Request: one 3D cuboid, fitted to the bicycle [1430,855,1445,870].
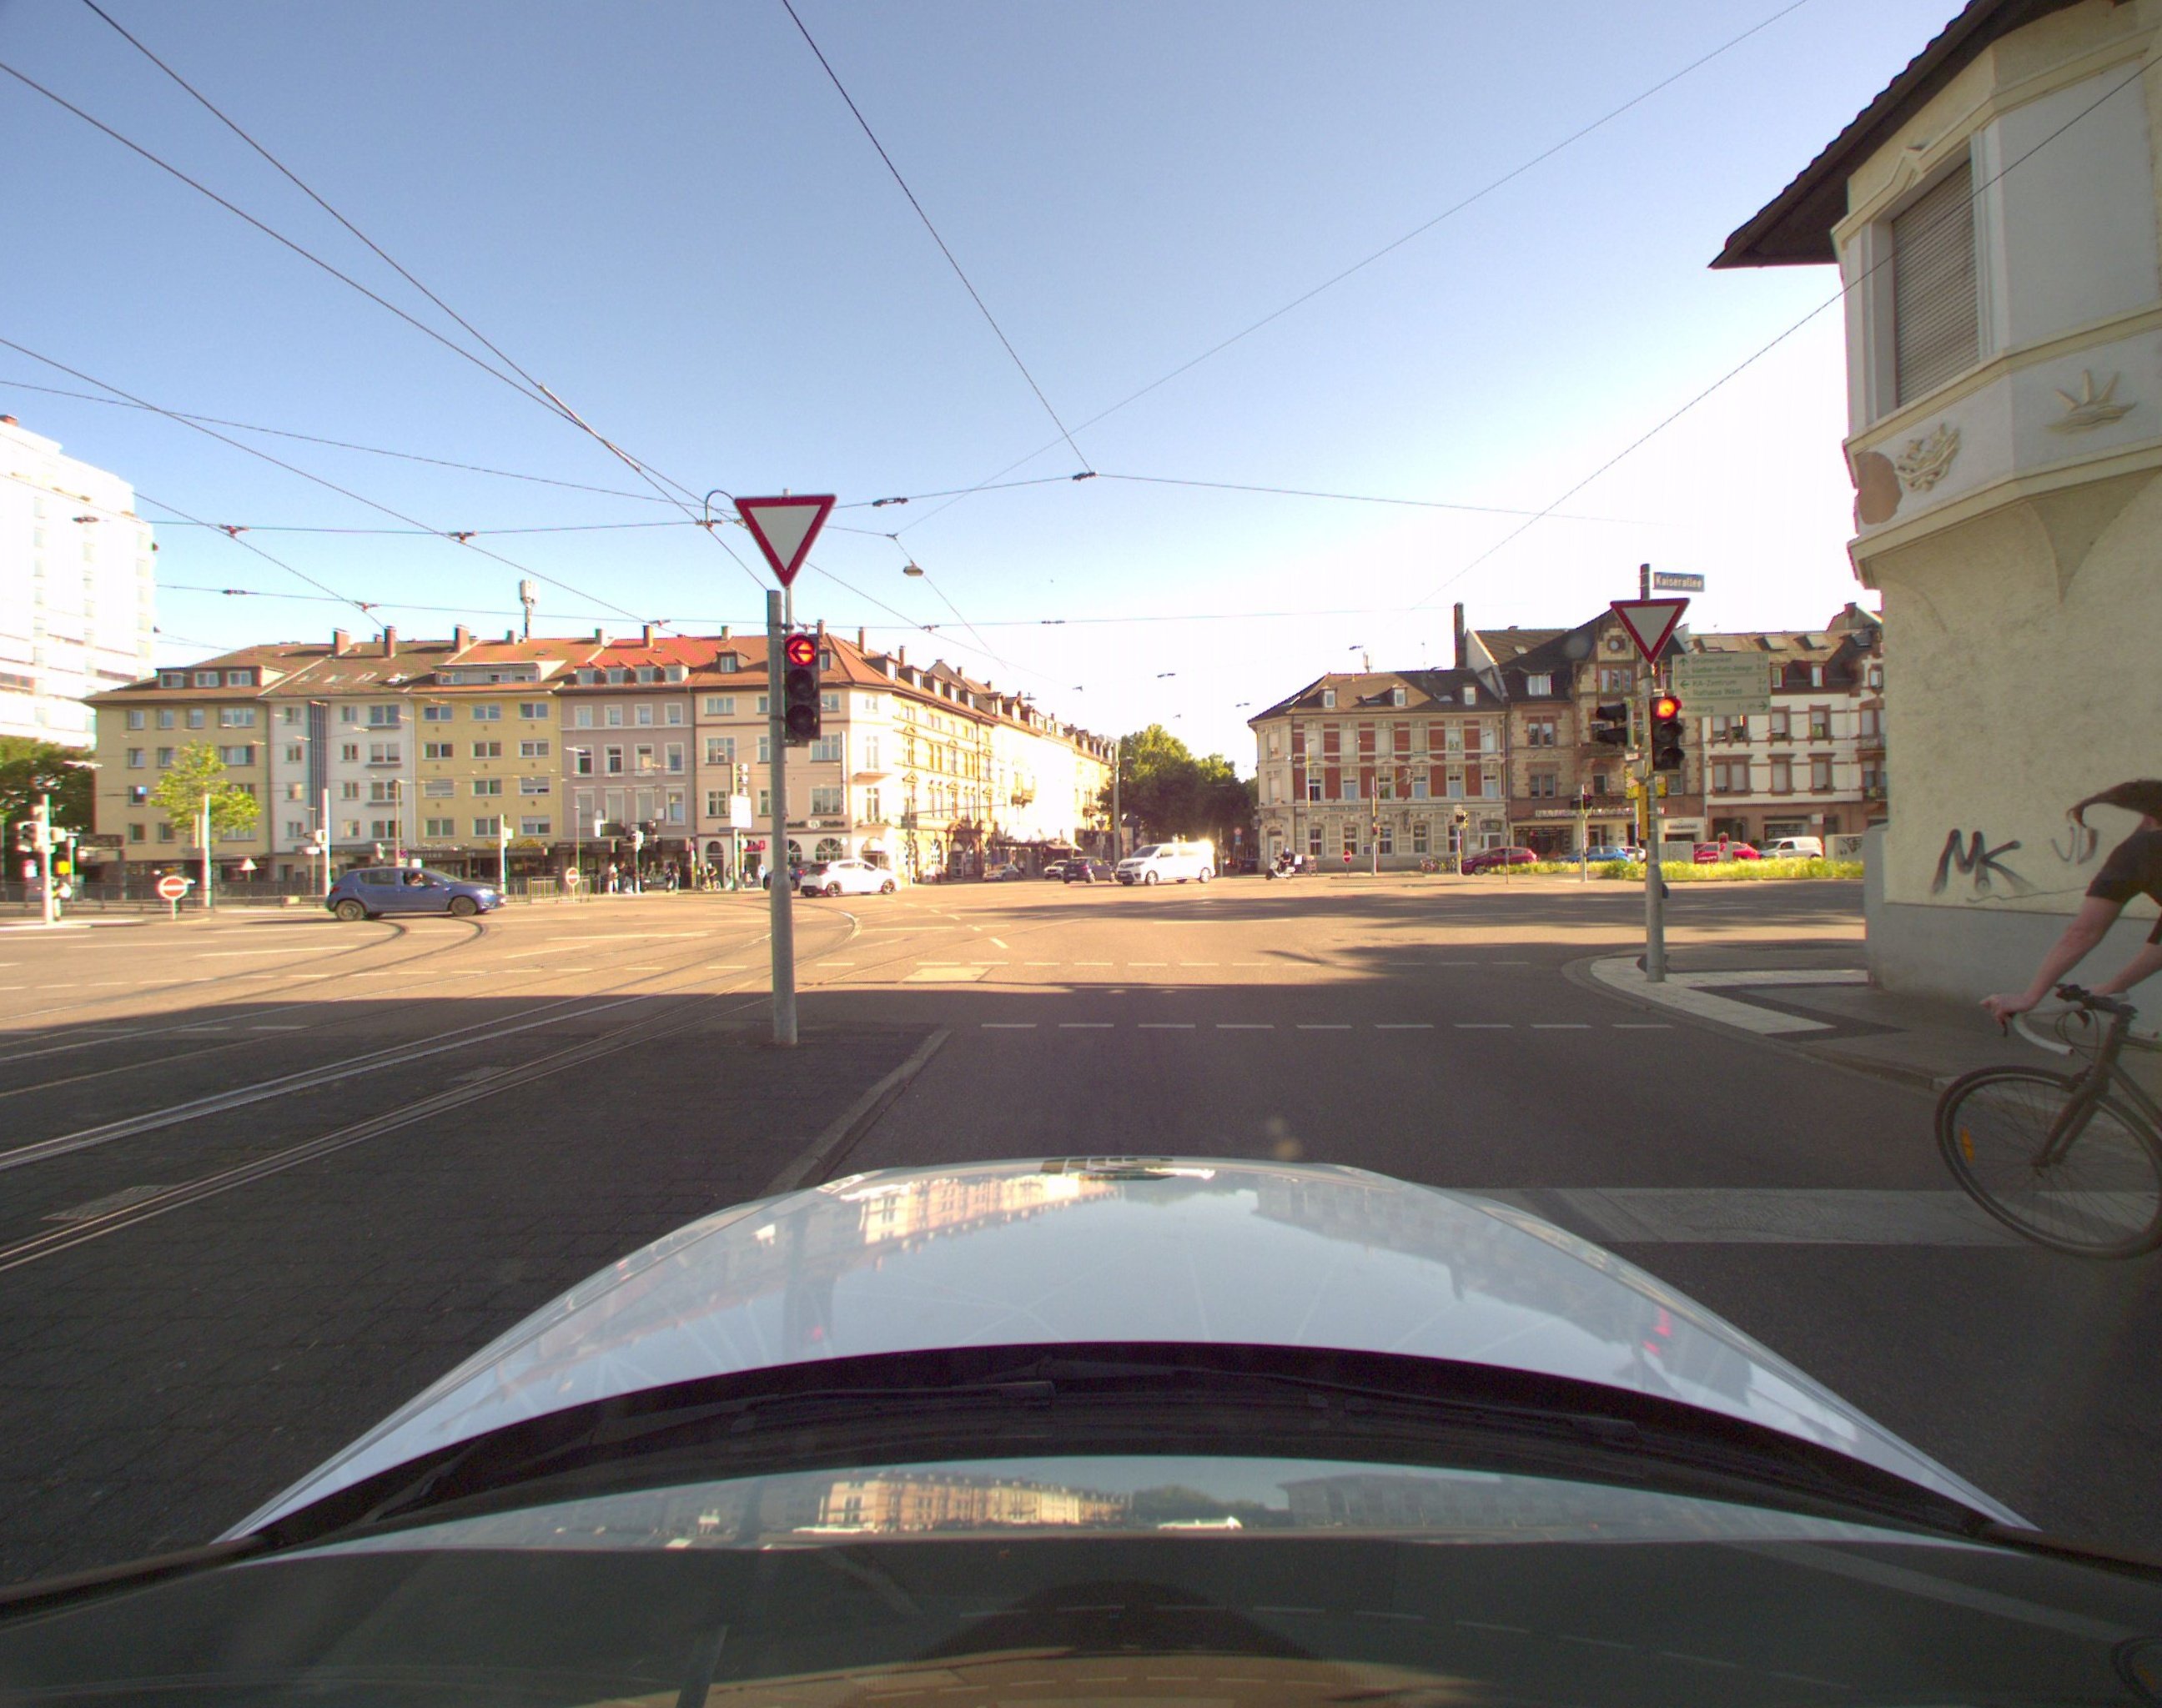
[{"bbox_3d":[23.262,0.565,53.095,0.758,0.968,2.221,-1,-1,20],"label":"bicycle"}]

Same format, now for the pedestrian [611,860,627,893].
[{"bbox_3d":[-23.676,1.155,41.728,0.520,1.648,0.498,0,-1,1],"label":"pedestrian"}]

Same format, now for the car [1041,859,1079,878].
[{"bbox_3d":[-1.679,1.174,67.481,1.788,1.585,4.179,-1,-1,19],"label":"car"}]

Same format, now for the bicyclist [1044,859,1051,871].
[{"bbox_3d":[-2.978,0.997,73.186,0.469,1.040,0.540,-1,-1,17],"label":"bicyclist"}]

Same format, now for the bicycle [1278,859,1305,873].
[{"bbox_3d":[14.710,0.824,56.922,1.789,0.963,0.606,-1,-1,16],"label":"bicycle"}]

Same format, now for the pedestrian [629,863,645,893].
[{"bbox_3d":[-22.695,1.224,41.624,0.489,1.492,0.556,0,-1,1],"label":"pedestrian"}]

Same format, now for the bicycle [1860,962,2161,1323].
[{"bbox_3d":[3.591,0.956,2.628,0.480,0.991,1.783,0,-1,2],"label":"bicycle"}]

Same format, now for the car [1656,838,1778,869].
[{"bbox_3d":[32.809,-0.051,42.090,4.839,1.469,1.805,-1,1,2],"label":"car"}]

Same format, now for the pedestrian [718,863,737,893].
[{"bbox_3d":[-19.457,1.318,44.849,0.666,1.594,0.815,0,-1,1],"label":"pedestrian"}]

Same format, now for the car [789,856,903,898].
[{"bbox_3d":[-9.361,0.897,32.662,1.874,1.454,4.034,-2,1,39],"label":"car"}]

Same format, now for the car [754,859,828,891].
[{"bbox_3d":[-15.436,1.088,43.251,4.145,1.575,1.843,-1,0,40],"label":"car"}]

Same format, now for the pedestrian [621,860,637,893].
[{"bbox_3d":[-23.141,1.151,41.673,0.520,1.648,0.498,0,-1,1],"label":"pedestrian"}]

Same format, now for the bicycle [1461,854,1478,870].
[{"bbox_3d":[25.091,0.536,52.609,0.758,1.007,2.231,-1,-1,20],"label":"bicycle"}]

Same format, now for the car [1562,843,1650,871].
[{"bbox_3d":[30.870,0.178,47.951,3.970,1.622,1.806,0,-1,3],"label":"car"}]

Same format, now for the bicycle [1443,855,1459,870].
[{"bbox_3d":[24.049,0.559,52.971,0.758,0.983,2.221,-1,-1,20],"label":"bicycle"}]

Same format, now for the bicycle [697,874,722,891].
[{"bbox_3d":[-23.117,1.778,50.724,0.618,1.030,1.758,0,-1,7],"label":"bicycle"}]

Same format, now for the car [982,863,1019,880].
[{"bbox_3d":[-6.609,1.433,67.377,1.647,1.374,3.909,-1,-1,17],"label":"car"}]

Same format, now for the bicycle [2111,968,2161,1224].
[{"bbox_3d":[4.461,0.953,2.448,0.501,0.983,1.783,0,-1,2],"label":"bicycle"}]

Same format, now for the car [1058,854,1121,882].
[{"bbox_3d":[0.495,0.733,44.234,1.808,1.403,4.024,-1,0,27],"label":"car"}]

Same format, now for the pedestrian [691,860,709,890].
[{"bbox_3d":[-21.075,1.156,45.042,0.580,1.648,0.840,0,-1,1],"label":"pedestrian"}]

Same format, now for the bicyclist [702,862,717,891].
[{"bbox_3d":[-23.116,1.386,50.732,0.618,1.790,0.616,0,-1,7],"label":"bicyclist"}]

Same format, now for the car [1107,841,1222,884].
[{"bbox_3d":[3.901,0.358,37.723,5.237,1.854,1.979,-1,0,-34],"label":"car"}]

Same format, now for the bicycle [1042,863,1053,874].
[{"bbox_3d":[-3.006,1.290,73.071,0.469,0.922,1.458,-1,-1,17],"label":"bicycle"}]

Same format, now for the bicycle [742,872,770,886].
[{"bbox_3d":[-22.986,1.752,57.605,1.694,0.983,0.611,0,-1,1],"label":"bicycle"}]

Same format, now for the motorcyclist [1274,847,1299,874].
[{"bbox_3d":[10.210,0.331,40.496,1.014,1.300,0.787,0,-1,-9],"label":"motorcyclist"}]

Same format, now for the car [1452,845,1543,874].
[{"bbox_3d":[21.505,0.267,42.144,3.854,1.426,1.596,-1,0,2],"label":"car"}]

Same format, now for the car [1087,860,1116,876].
[{"bbox_3d":[2.018,1.336,79.664,1.788,1.575,3.908,-1,-1,17],"label":"car"}]

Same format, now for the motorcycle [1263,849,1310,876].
[{"bbox_3d":[10.202,0.419,40.456,2.135,1.333,0.794,0,-1,-9],"label":"motorcycle"}]

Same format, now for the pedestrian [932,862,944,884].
[{"bbox_3d":[-10.923,1.439,62.229,0.562,1.642,0.797,-1,-1,25],"label":"pedestrian"}]

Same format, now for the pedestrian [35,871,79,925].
[{"bbox_3d":[-31.697,1.340,25.223,0.770,1.609,0.605,0,-1,-44],"label":"pedestrian"}]

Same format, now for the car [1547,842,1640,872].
[{"bbox_3d":[28.331,0.174,45.119,3.970,1.622,1.806,0,-1,3],"label":"car"}]

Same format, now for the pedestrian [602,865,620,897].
[{"bbox_3d":[-25.038,1.426,43.366,0.582,1.648,0.616,0,-1,1],"label":"pedestrian"}]

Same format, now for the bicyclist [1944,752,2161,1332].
[{"bbox_3d":[3.587,0.572,2.631,0.587,1.767,0.936,0,-1,2],"label":"bicyclist"}]

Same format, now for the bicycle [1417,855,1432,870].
[{"bbox_3d":[22.507,0.572,53.362,0.758,0.963,2.221,-1,-1,20],"label":"bicycle"}]

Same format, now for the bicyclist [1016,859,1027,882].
[{"bbox_3d":[-4.768,1.311,65.390,0.561,1.804,0.918,-1,-1,17],"label":"bicyclist"}]

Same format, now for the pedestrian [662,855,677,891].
[{"bbox_3d":[-21.400,0.990,42.363,0.528,1.823,0.673,0,-1,-13],"label":"pedestrian"}]

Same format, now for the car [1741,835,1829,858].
[{"bbox_3d":[45.272,-0.447,52.432,3.961,1.438,1.874,0,-1,5],"label":"car"}]

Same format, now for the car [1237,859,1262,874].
[{"bbox_3d":[17.027,1.249,82.280,1.741,1.556,4.021,-1,-1,22],"label":"car"}]

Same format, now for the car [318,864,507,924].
[{"bbox_3d":[-19.573,1.126,24.068,3.924,1.503,1.776,-2,0,-23],"label":"car"}]

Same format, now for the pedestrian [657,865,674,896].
[{"bbox_3d":[-22.580,1.423,44.260,0.571,1.648,0.727,0,-1,1],"label":"pedestrian"}]

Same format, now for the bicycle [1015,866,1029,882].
[{"bbox_3d":[-4.722,1.609,65.501,0.561,1.254,1.564,-1,-1,17],"label":"bicycle"}]
